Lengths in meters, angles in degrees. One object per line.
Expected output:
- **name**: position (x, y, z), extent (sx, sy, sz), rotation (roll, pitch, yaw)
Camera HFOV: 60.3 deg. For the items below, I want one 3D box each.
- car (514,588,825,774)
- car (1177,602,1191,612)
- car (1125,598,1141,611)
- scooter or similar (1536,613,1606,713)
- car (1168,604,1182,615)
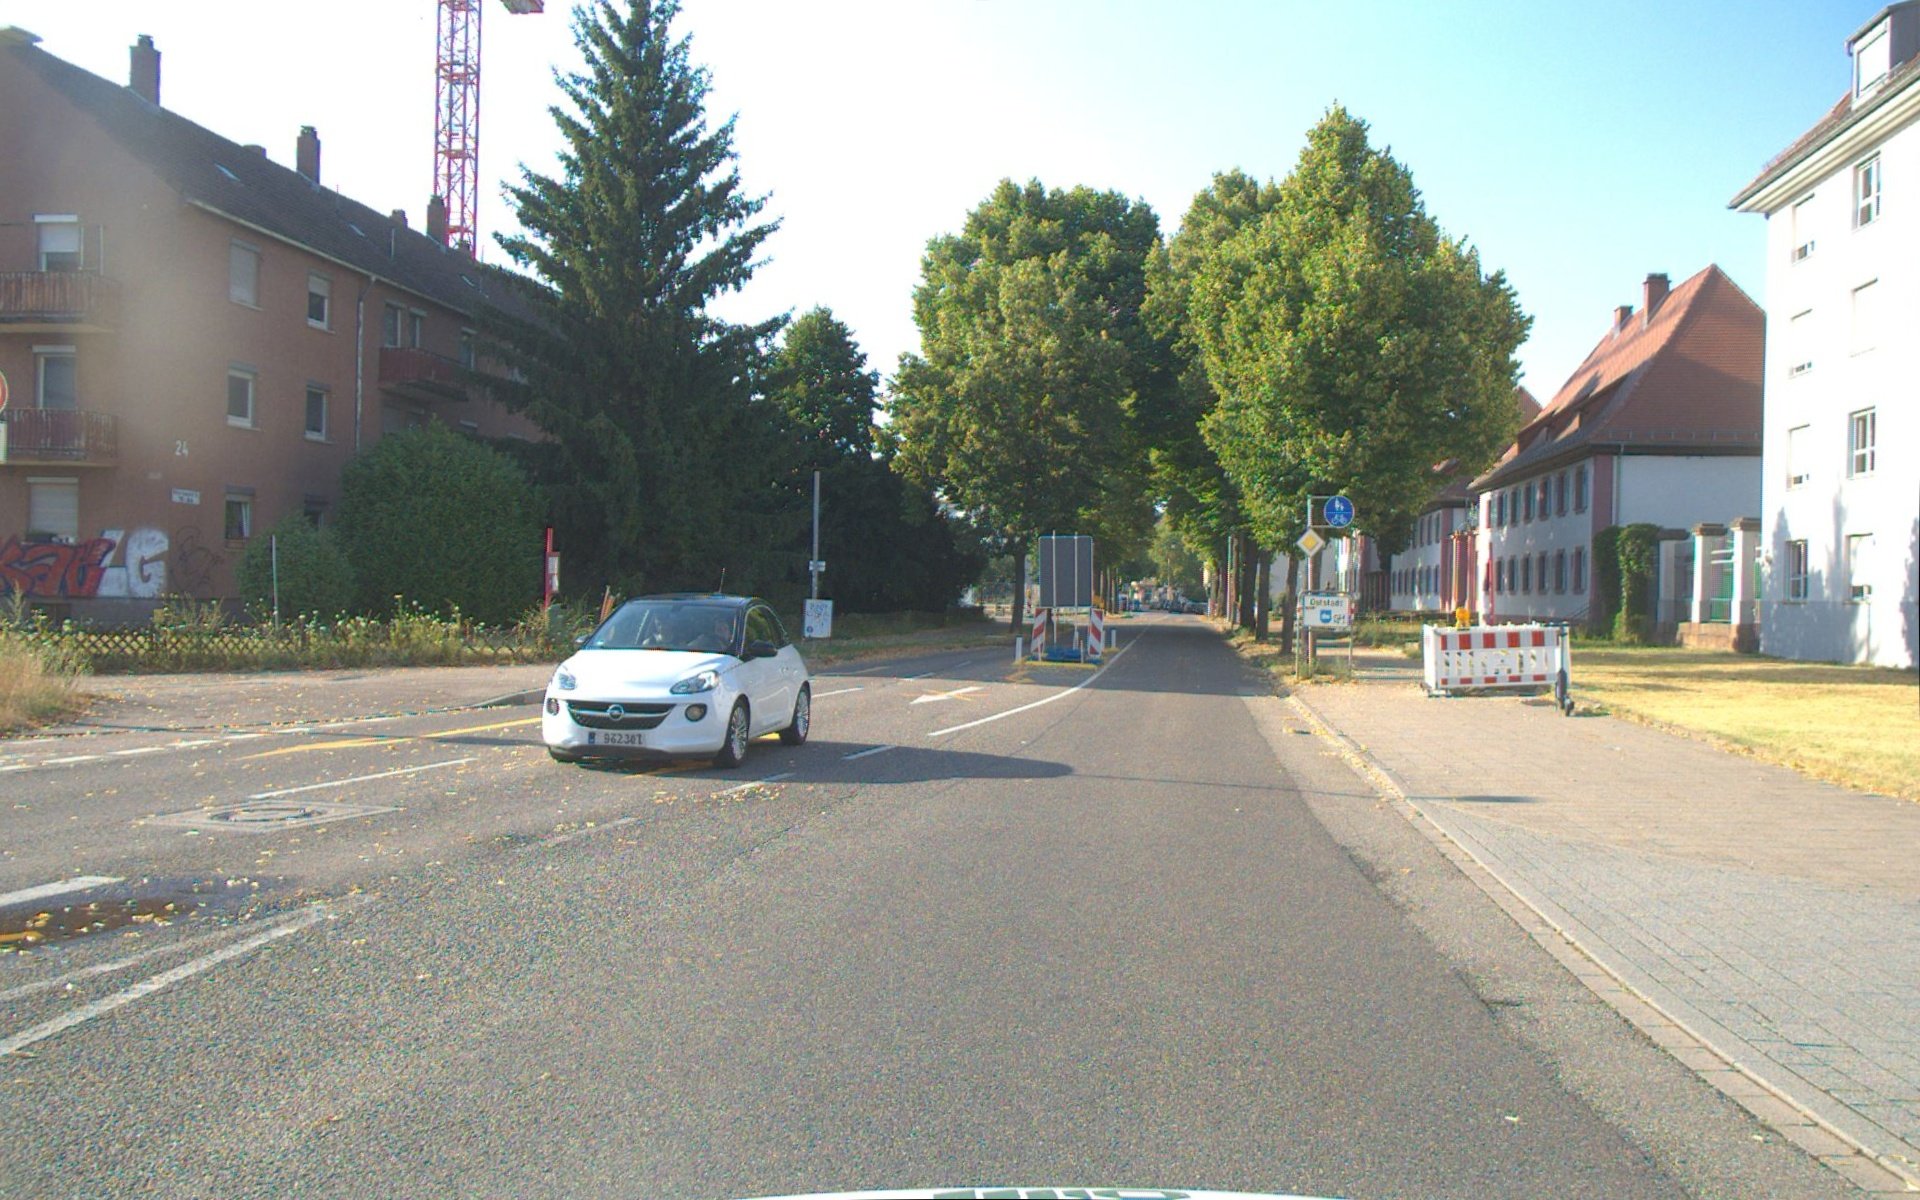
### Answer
- **car**: position (-2.513, 0.657, 15.197), extent (1.721, 1.446, 3.627), rotation (2, 0, 8)
- **car**: position (33.933, 1.058, 250.905), extent (1.802, 1.410, 4.002), rotation (1, -1, 4)
- **car**: position (23.889, 0.691, 228.201), extent (1.952, 1.717, 4.001), rotation (1, -1, 2)
- **scooter or similar**: position (8.511, 0.861, 23.085), extent (0.547, 1.315, 1.464), rotation (-2, 0, 7)
- **car**: position (29.919, 1.293, 230.380), extent (1.678, 1.512, 4.002), rotation (0, -1, 4)
